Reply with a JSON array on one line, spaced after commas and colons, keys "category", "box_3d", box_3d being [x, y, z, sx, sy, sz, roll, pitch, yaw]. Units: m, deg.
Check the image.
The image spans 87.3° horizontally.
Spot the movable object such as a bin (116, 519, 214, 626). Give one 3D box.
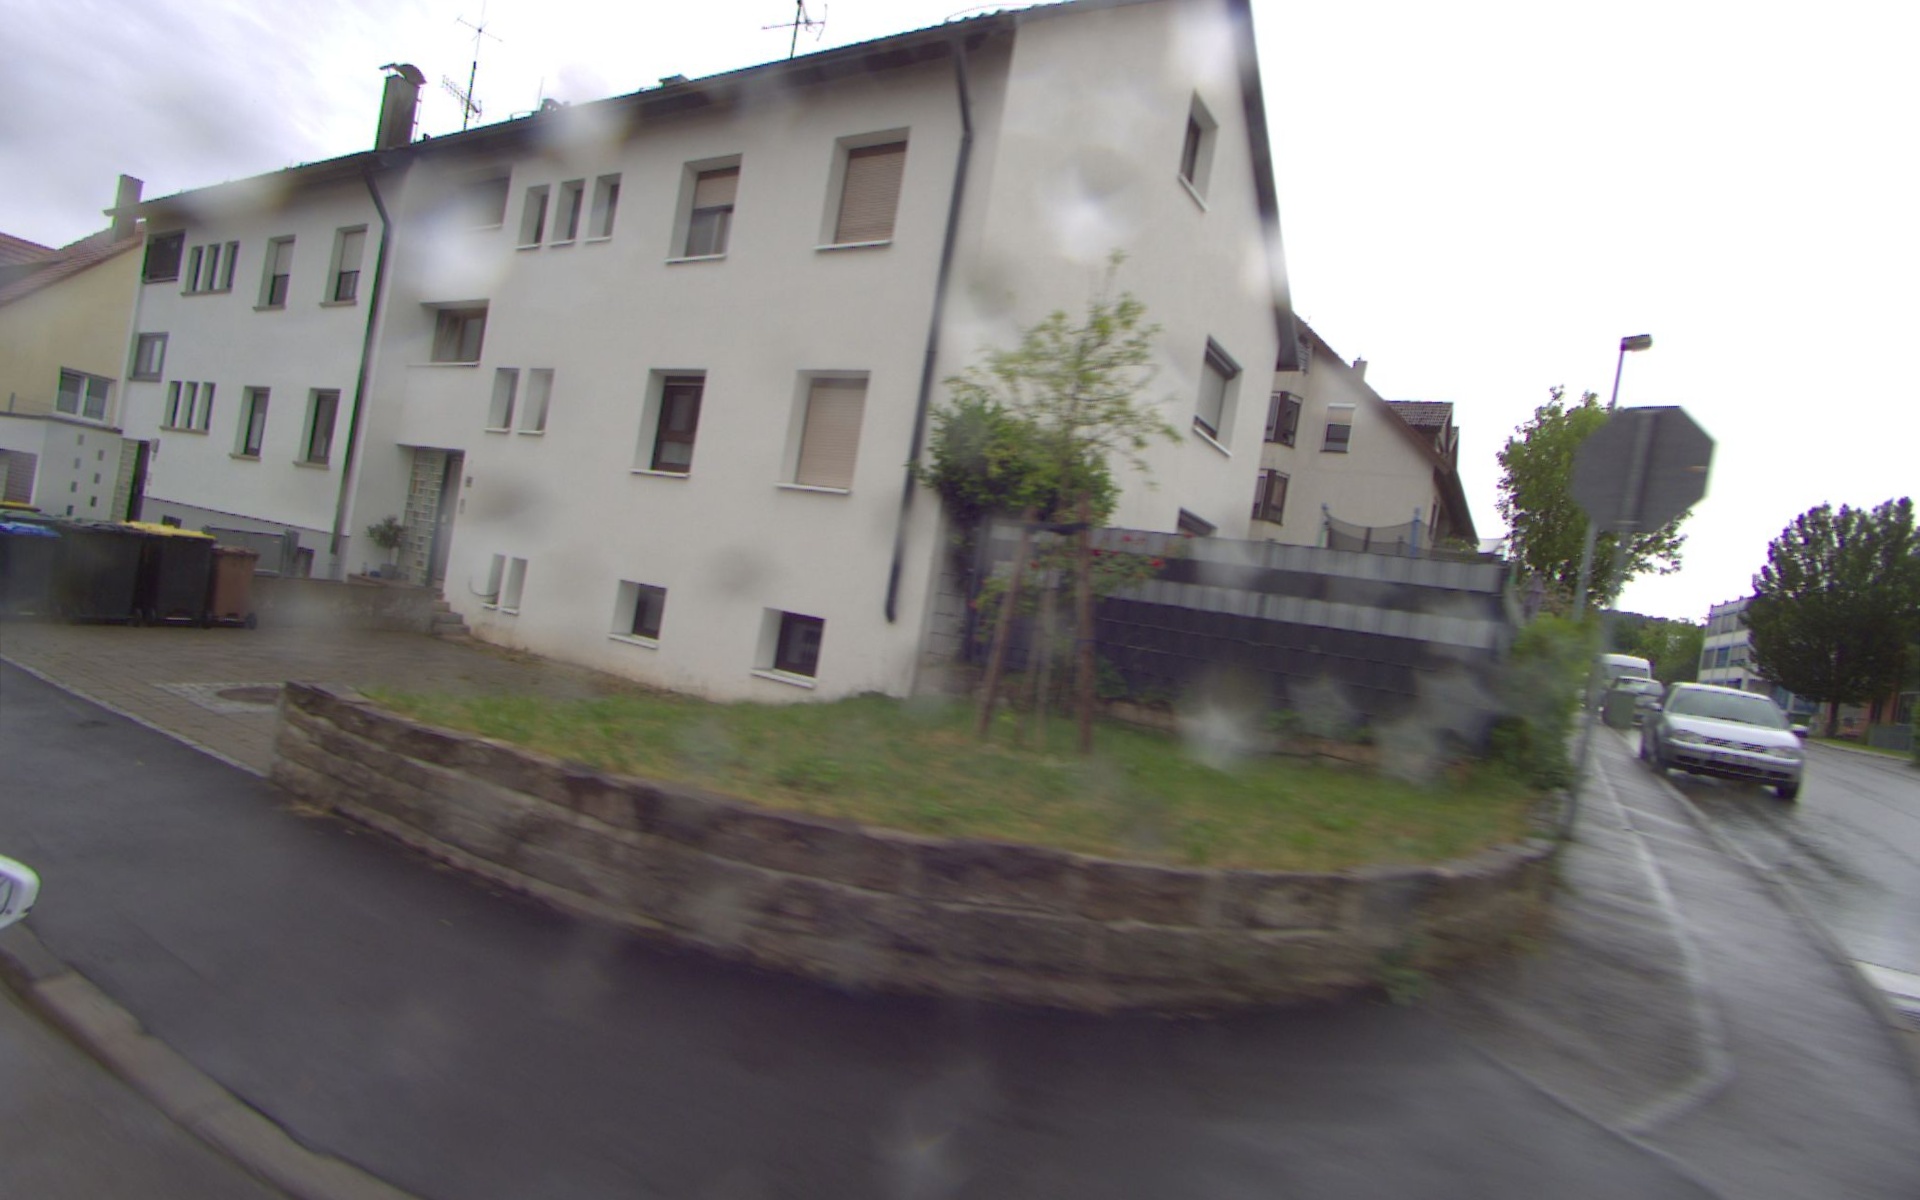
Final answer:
[{"category": "movable object such as a bin", "box_3d": [-8.832, -0.306, 11.176, 0.621, 1.039, 0.529, 11, -1, 31]}]

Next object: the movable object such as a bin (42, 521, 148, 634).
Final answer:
[{"category": "movable object such as a bin", "box_3d": [-9.142, -0.235, 10.639, 0.621, 1.039, 0.546, 11, -1, 31]}]

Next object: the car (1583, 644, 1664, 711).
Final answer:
[{"category": "car", "box_3d": [27.986, 3.336, 42.562, 1.949, 2.292, 4.002, 11, -1, 26]}]

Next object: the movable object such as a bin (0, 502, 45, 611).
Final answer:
[{"category": "movable object such as a bin", "box_3d": [-9.998, -0.475, 10.452, 0.621, 1.039, 0.426, 11, 0, 31]}]

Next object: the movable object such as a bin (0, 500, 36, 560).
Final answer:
[{"category": "movable object such as a bin", "box_3d": [-19.206, -1.424, 20.230, 0.618, 1.085, 0.651, 11, -1, 33]}]

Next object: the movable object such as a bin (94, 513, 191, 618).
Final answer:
[{"category": "movable object such as a bin", "box_3d": [-9.376, -0.391, 11.539, 0.621, 1.039, 0.546, 11, -1, 31]}]

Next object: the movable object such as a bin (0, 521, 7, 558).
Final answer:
[{"category": "movable object such as a bin", "box_3d": [-9.700, -0.352, 9.756, 0.499, 0.951, 0.426, 11, 0, 31]}]

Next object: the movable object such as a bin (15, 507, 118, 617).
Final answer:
[{"category": "movable object such as a bin", "box_3d": [-9.727, -0.407, 10.952, 0.621, 1.039, 0.546, 11, -1, 31]}]

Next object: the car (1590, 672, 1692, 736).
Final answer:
[{"category": "car", "box_3d": [21.800, 3.370, 32.371, 1.847, 1.569, 4.003, 11, -2, 26]}]

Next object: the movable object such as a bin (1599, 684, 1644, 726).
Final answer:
[{"category": "movable object such as a bin", "box_3d": [18.215, 2.900, 27.721, 0.818, 0.989, 0.659, 11, -1, 28]}]

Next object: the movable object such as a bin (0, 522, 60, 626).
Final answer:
[{"category": "movable object such as a bin", "box_3d": [-9.497, -0.268, 10.107, 0.499, 0.951, 0.426, 11, 0, 31]}]

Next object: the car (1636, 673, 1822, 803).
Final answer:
[{"category": "car", "box_3d": [11.610, 2.017, 15.437, 1.581, 1.472, 3.775, 9, 0, 30]}]
